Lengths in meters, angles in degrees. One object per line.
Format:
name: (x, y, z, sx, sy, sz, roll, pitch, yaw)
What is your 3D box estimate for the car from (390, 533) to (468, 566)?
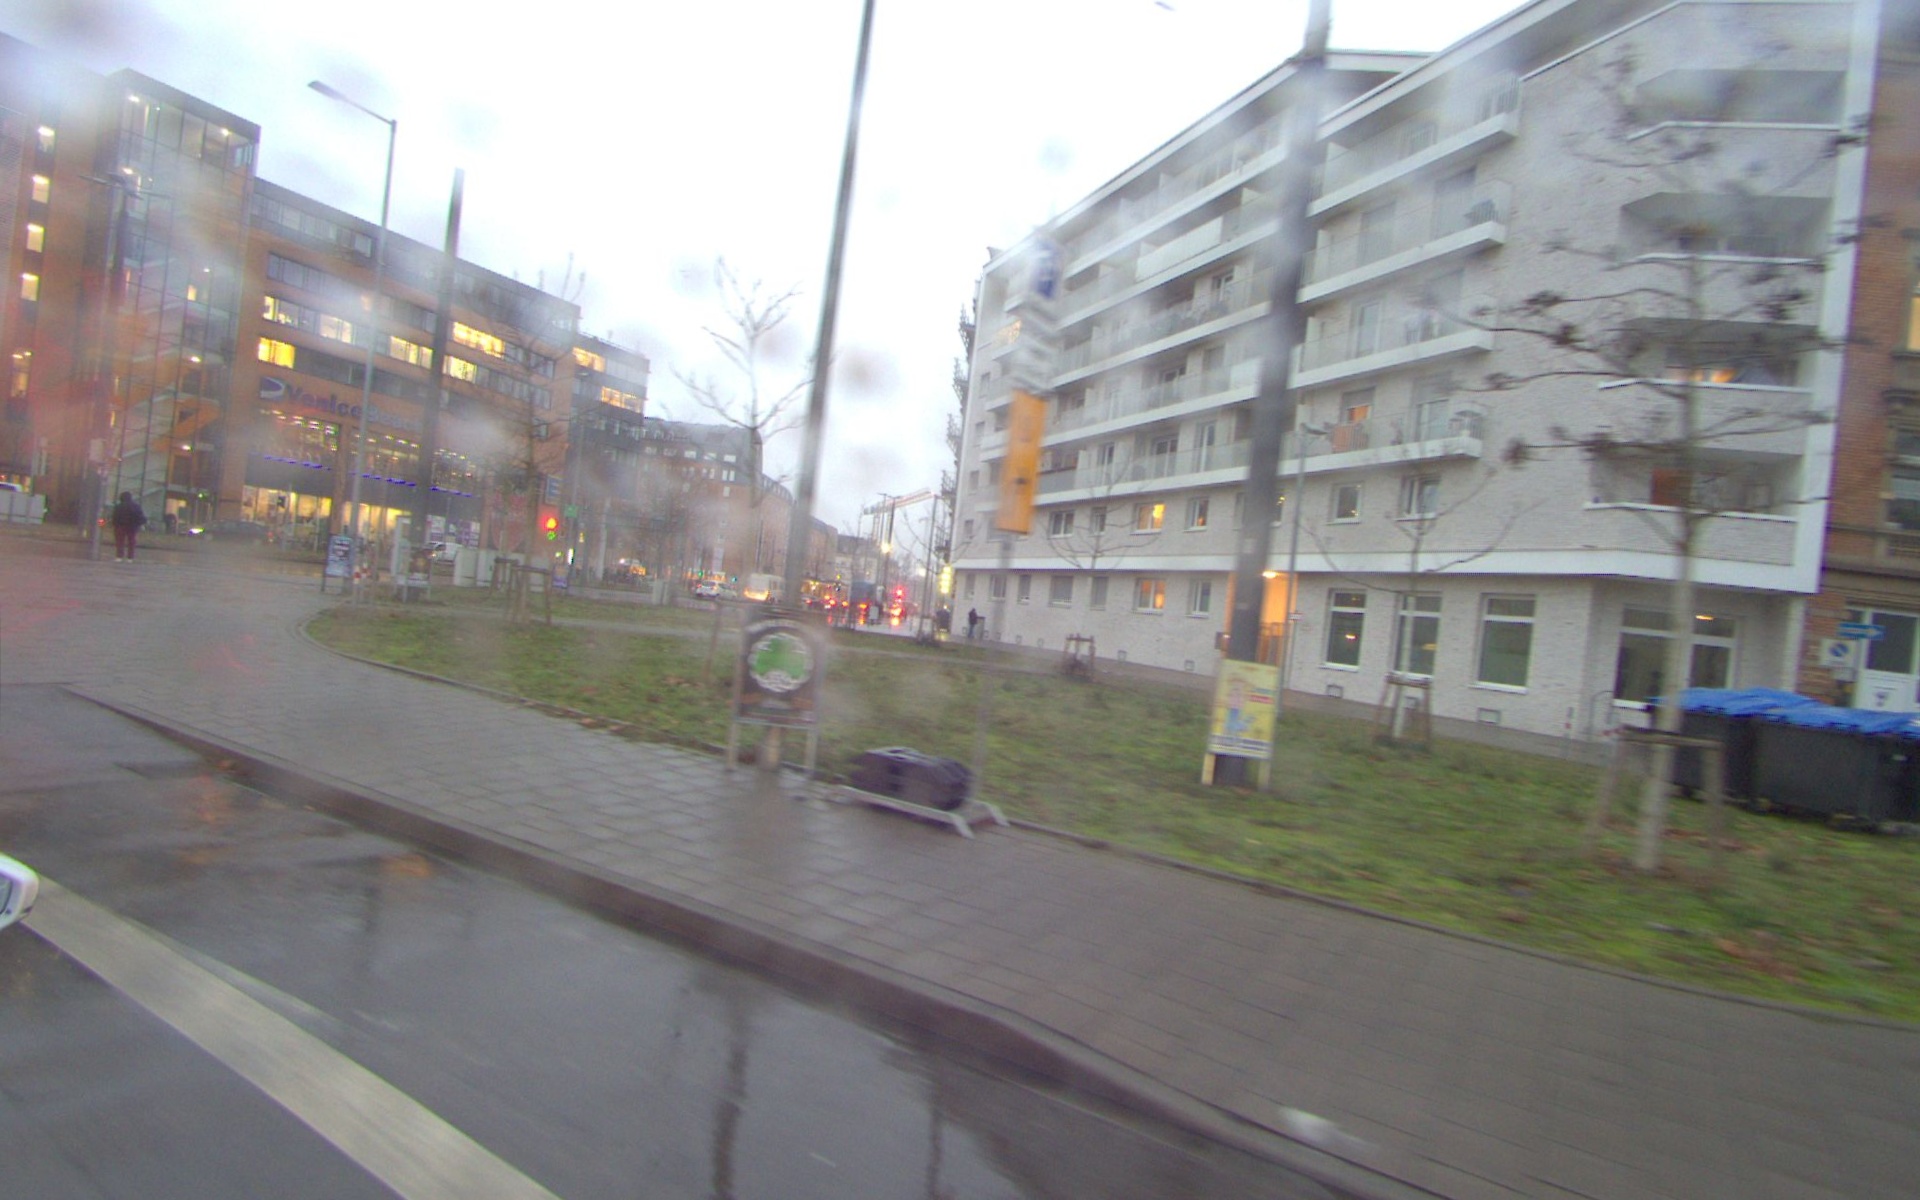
car: (-37.751, -3.571, 71.684, 1.895, 1.740, 4.608, 7, -1, 25)

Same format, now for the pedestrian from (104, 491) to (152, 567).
pedestrian: (-22.155, -1.873, 26.798, 0.768, 1.901, 0.629, 6, 1, -35)

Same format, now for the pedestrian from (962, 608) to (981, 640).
pedestrian: (0.611, 1.334, 55.001, 0.621, 1.652, 0.721, 7, 0, 27)

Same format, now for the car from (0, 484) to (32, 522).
car: (-47.318, -4.886, 47.541, 1.755, 1.697, 4.648, 7, -1, 26)

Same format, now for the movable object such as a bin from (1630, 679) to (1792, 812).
movable object such as a bin: (10.048, 1.927, 13.502, 1.038, 1.529, 1.248, 7, 0, -19)

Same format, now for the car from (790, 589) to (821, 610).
car: (-13.956, -0.009, 91.085, 1.494, 1.538, 3.474, 7, -2, 11)

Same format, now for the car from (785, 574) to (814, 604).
car: (-17.477, -1.198, 110.023, 2.320, 2.861, 6.356, 7, -1, -4)

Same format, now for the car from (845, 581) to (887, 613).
car: (-9.966, -0.257, 107.259, 2.317, 2.860, 6.364, 7, -1, 12)

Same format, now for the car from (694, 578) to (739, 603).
car: (-18.311, -0.715, 75.727, 1.613, 1.514, 3.687, 7, 0, 14)

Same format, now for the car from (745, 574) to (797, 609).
car: (-15.776, -0.661, 84.415, 1.962, 2.456, 5.979, 7, -1, 11)

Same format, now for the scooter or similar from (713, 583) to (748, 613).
scooter or similar: (-11.011, -0.070, 48.250, 0.658, 1.241, 1.556, 6, -2, 27)

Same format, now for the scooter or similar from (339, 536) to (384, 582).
scooter or similar: (-17.488, -1.178, 29.415, 0.327, 1.221, 1.310, 7, 0, 4)

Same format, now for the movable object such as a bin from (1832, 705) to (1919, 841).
movable object such as a bin: (11.799, 2.154, 12.376, 1.038, 1.503, 1.135, 7, 0, -19)

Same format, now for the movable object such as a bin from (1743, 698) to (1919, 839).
movable object such as a bin: (10.669, 2.033, 12.312, 1.038, 1.449, 1.220, 7, 0, -19)

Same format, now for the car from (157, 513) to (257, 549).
car: (-43.497, -3.973, 58.255, 1.599, 1.462, 4.425, 7, -1, 18)

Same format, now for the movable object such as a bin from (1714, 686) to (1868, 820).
movable object such as a bin: (11.423, 2.090, 13.864, 1.038, 1.595, 1.135, 7, 0, -19)
